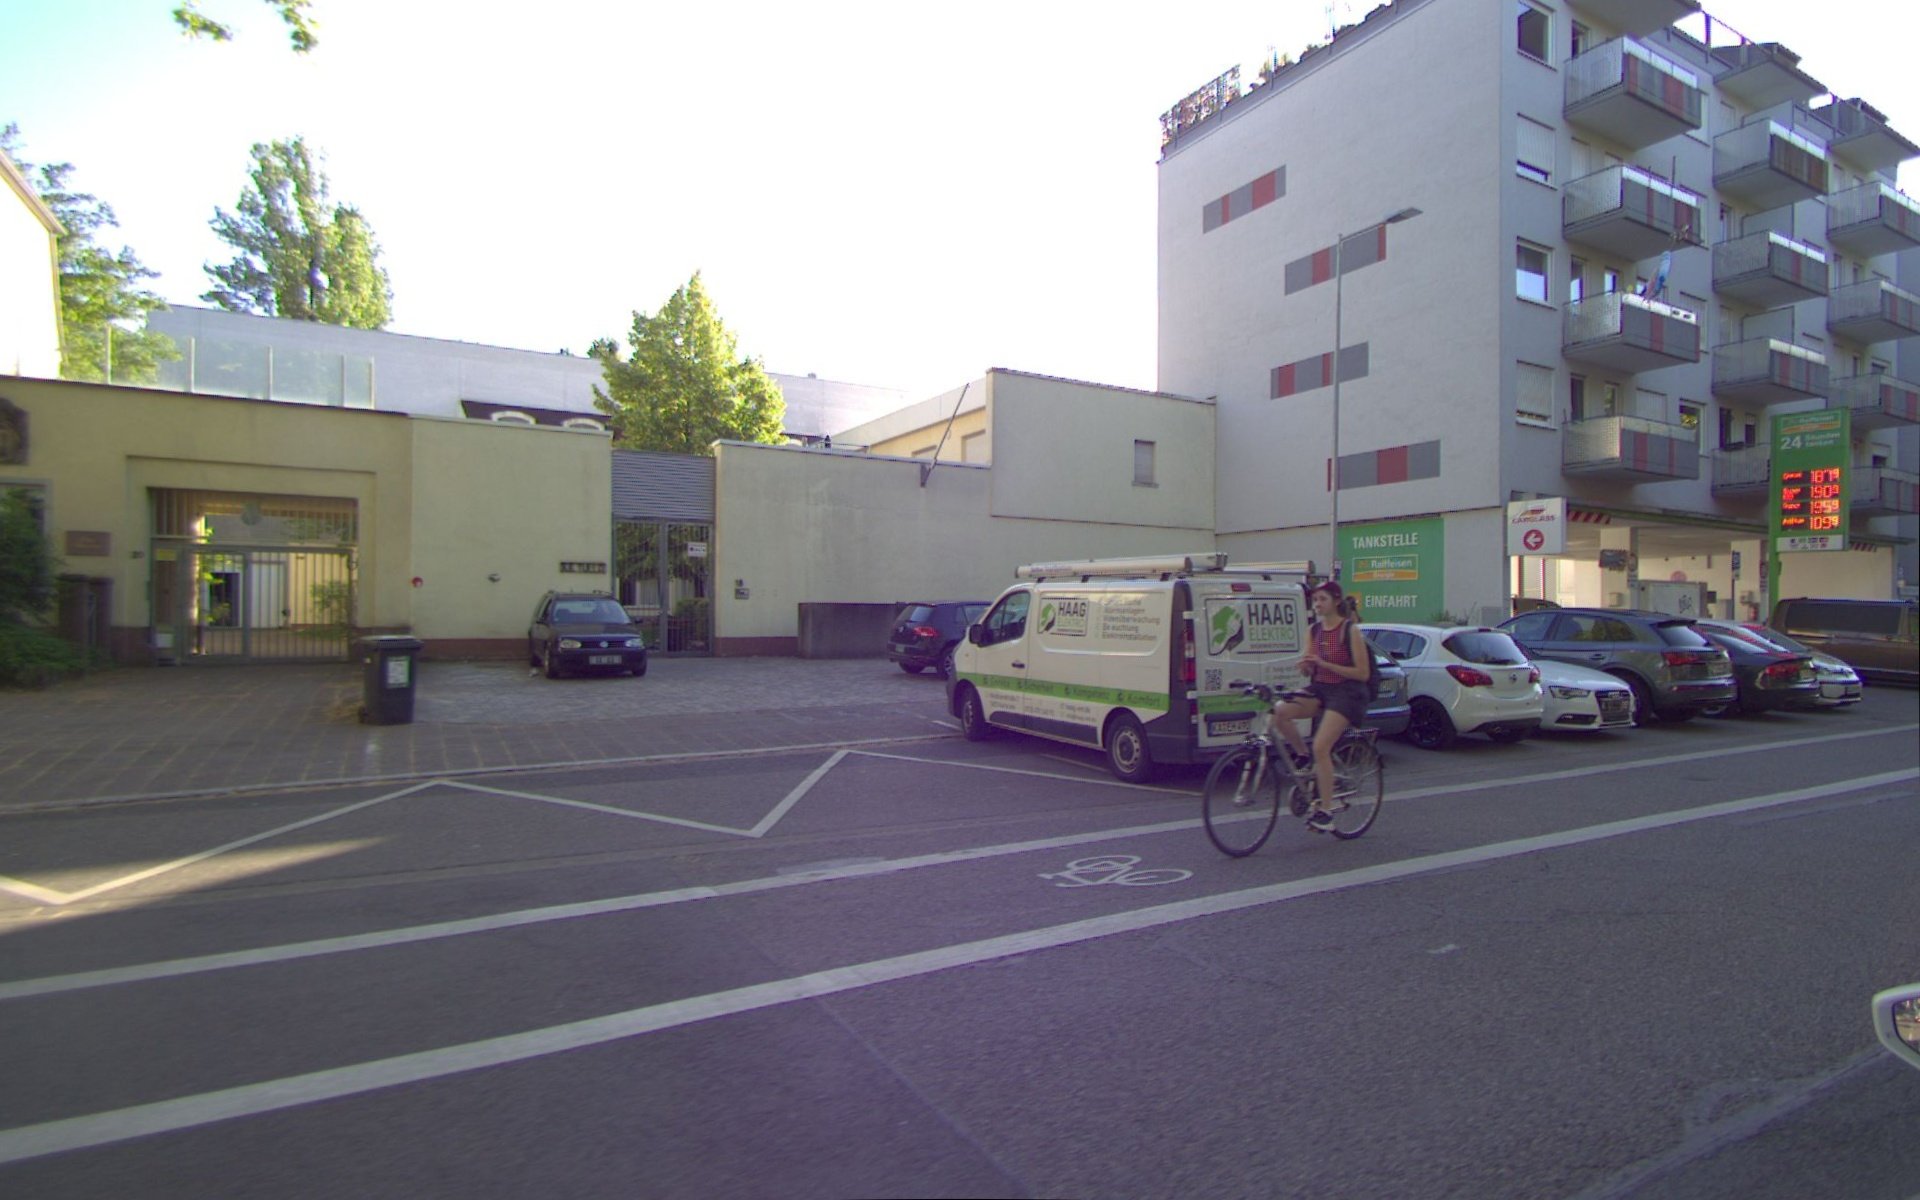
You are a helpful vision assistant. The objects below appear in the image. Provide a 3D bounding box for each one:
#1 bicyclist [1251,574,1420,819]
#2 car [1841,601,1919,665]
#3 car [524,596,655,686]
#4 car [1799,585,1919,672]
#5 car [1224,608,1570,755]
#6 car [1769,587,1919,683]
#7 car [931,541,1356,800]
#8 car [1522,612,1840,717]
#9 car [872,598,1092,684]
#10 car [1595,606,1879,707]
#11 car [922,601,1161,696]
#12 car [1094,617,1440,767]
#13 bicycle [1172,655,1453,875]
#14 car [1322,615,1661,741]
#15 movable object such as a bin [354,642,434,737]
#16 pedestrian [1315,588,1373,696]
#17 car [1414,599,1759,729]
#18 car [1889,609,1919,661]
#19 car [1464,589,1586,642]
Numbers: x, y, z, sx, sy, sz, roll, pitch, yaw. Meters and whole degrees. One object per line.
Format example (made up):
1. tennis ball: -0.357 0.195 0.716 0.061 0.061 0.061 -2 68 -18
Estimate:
1. bicyclist: 2.585 0.629 6.930 0.923 1.565 0.604 0 -2 -30
2. car: 25.607 0.897 25.743 1.864 1.584 4.153 1 1 -29
3. car: -7.103 0.680 19.022 1.866 1.436 3.845 -1 1 -27
4. car: 23.161 0.687 23.900 2.120 1.978 4.400 0 2 -29
5. car: 5.626 0.936 13.437 1.831 1.580 3.968 0 0 -30
6. car: 20.969 0.768 22.076 2.032 1.978 4.501 0 2 -29
7. car: 1.743 0.584 11.355 2.114 2.246 4.821 1 1 -30
8. car: 12.018 0.974 17.022 1.893 1.475 3.968 1 0 -30
9. car: 0.456 0.737 19.604 3.953 1.484 1.781 0 2 -30
10. car: 13.976 0.925 18.283 1.809 1.533 3.668 1 1 -30
11. car: 1.476 0.789 17.913 3.953 1.484 1.781 0 1 -30
12. car: 3.606 0.981 12.514 1.831 1.452 3.968 0 0 -30
13. bicycle: 2.426 1.033 6.814 2.025 1.256 0.604 0 -2 -31
14. car: 7.448 0.982 14.483 1.831 1.452 3.968 0 0 -30
15. movable object such as a bin: -6.883 1.070 12.229 0.825 1.058 0.525 0 2 -30
16. pedestrian: 6.669 0.715 17.446 0.714 1.813 0.628 0 0 -30
17. car: 9.633 0.870 15.816 2.004 1.706 4.174 1 0 -30
18. car: 27.736 1.004 26.596 2.021 1.398 4.209 1 1 -29
19. car: 19.869 0.574 35.298 4.531 1.770 1.713 1 -2 -30
